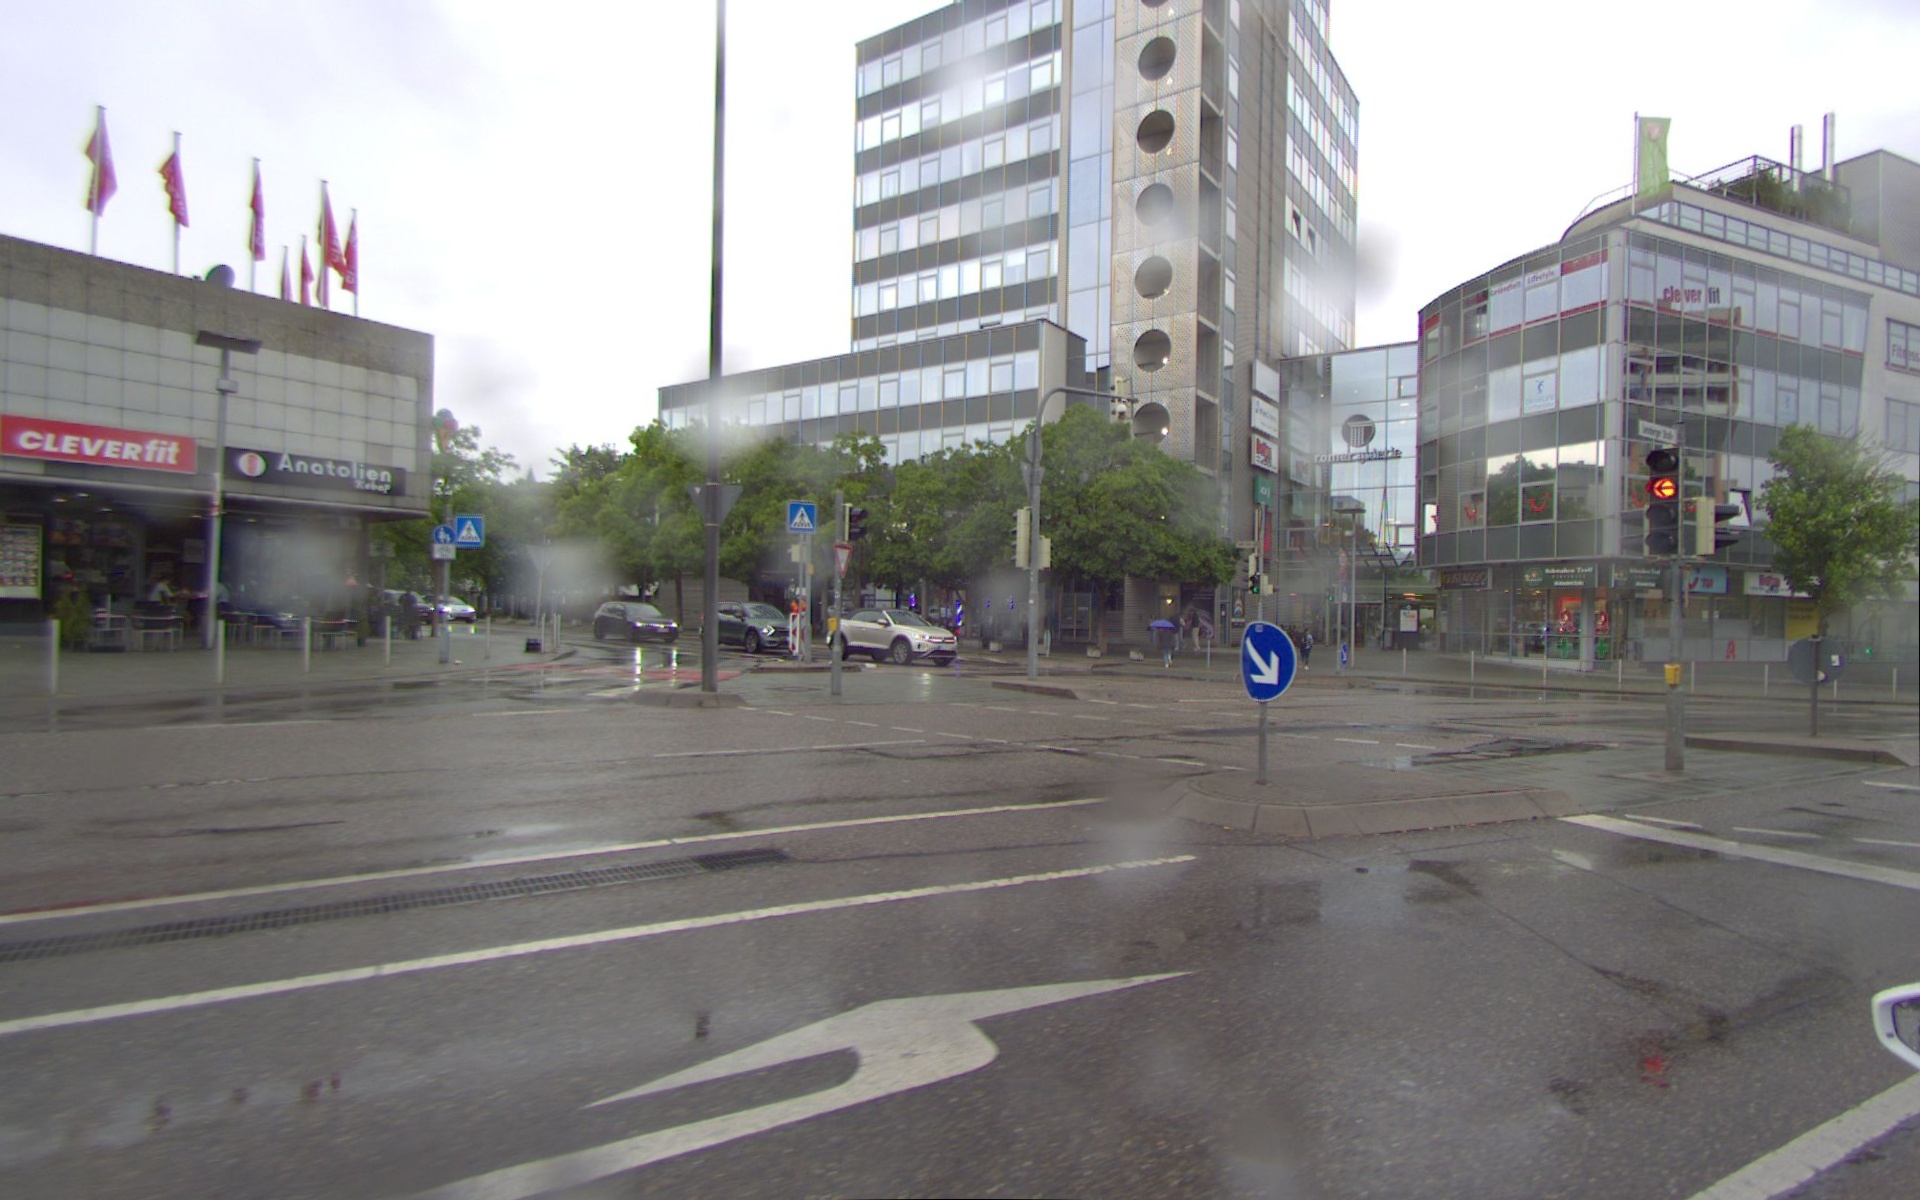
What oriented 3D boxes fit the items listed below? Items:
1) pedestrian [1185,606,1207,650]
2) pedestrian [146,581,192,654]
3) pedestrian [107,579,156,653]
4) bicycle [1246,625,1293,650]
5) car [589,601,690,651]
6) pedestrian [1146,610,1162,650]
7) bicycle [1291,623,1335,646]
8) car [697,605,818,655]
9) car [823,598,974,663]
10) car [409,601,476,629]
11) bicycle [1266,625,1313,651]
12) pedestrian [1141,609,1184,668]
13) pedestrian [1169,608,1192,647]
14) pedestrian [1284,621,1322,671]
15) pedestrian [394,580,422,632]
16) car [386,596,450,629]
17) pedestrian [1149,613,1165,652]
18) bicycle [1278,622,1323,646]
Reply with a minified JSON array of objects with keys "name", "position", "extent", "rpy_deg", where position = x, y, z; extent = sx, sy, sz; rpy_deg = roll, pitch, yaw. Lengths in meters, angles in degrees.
[{"name":"pedestrian","position":[11.276,1.332,48.021],"extent":[0.759,2.040,0.706],"rpy_deg":[1,0,-41]},{"name":"pedestrian","position":[-15.127,0.329,19.217],"extent":[0.528,1.365,0.495],"rpy_deg":[1,0,-18]},{"name":"pedestrian","position":[-15.683,0.304,19.032],"extent":[0.529,1.365,0.495],"rpy_deg":[3,0,-20]},{"name":"bicycle","position":[16.378,1.974,53.160],"extent":[2.243,1.263,0.674],"rpy_deg":[0,-1,35]},{"name":"car","position":[-12.074,0.969,37.700],"extent":[3.943,1.616,1.860],"rpy_deg":[3,0,43]},{"name":"pedestrian","position":[9.336,1.463,48.437],"extent":[0.738,1.893,0.834],"rpy_deg":[1,-1,11]},{"name":"bicycle","position":[19.994,1.936,56.841],"extent":[2.243,1.263,0.674],"rpy_deg":[0,-1,35]},{"name":"car","position":[-6.662,0.951,32.857],"extent":[4.001,1.439,1.860],"rpy_deg":[1,0,43]},{"name":"car","position":[-1.778,0.810,28.161],"extent":[4.146,1.616,1.860],"rpy_deg":[1,0,43]},{"name":"car","position":[-29.142,0.856,56.535],"extent":[3.993,1.439,1.767],"rpy_deg":[1,-2,36]},{"name":"bicycle","position":[17.511,2.001,53.408],"extent":[2.243,1.263,0.674],"rpy_deg":[1,0,35]},{"name":"pedestrian","position":[7.334,1.380,36.299],"extent":[1.145,2.040,1.326],"rpy_deg":[1,0,29]},{"name":"pedestrian","position":[10.677,1.338,48.687],"extent":[0.742,1.893,0.829],"rpy_deg":[1,-1,-21]},{"name":"pedestrian","position":[12.812,1.709,37.513],"extent":[1.010,1.843,0.844],"rpy_deg":[2,-1,-23]},{"name":"pedestrian","position":[-20.451,0.233,37.185],"extent":[0.800,1.919,0.712],"rpy_deg":[1,-1,-36]},{"name":"car","position":[-28.420,0.661,52.659],"extent":[3.942,1.616,1.707],"rpy_deg":[1,0,42]},{"name":"pedestrian","position":[9.794,1.610,49.924],"extent":[0.738,1.893,0.834],"rpy_deg":[1,-1,9]},{"name":"bicycle","position":[18.801,1.848,55.543],"extent":[2.243,1.263,0.674],"rpy_deg":[0,-1,35]}]
